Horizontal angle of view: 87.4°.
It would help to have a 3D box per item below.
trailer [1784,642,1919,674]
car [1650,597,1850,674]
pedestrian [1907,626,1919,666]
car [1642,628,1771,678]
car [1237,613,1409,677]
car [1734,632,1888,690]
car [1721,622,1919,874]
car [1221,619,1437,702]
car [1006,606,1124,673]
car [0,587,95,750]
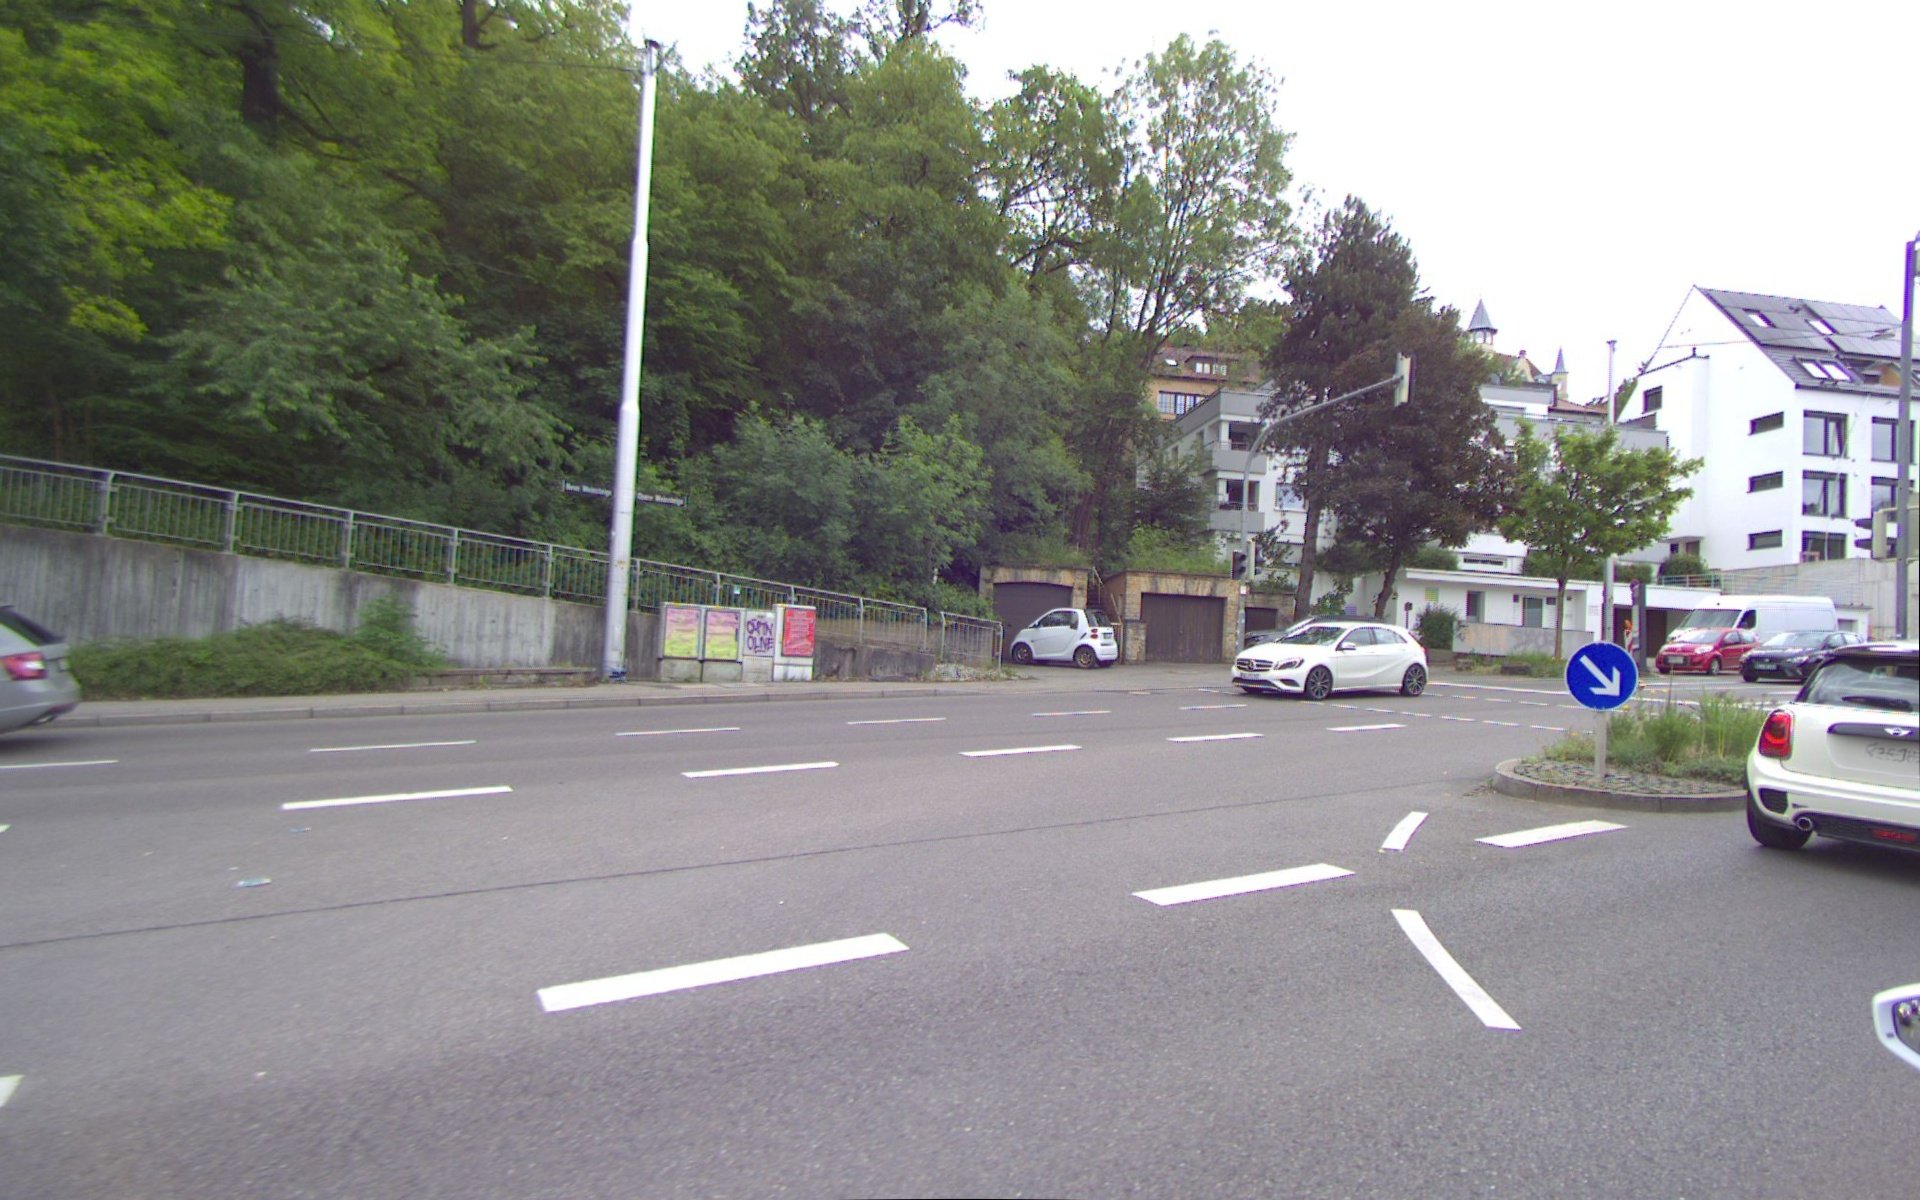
[{"bbox_3d":[34.148,2.211,38.326,4.552,1.126,2.244,1,-2,-20],"label":"trailer"},{"bbox_3d":[28.578,1.310,36.322,7.309,2.602,2.228,1,-1,-20],"label":"car"},{"bbox_3d":[39.745,1.908,41.494,0.660,1.662,0.626,1,1,-14],"label":"pedestrian"},{"bbox_3d":[23.521,1.654,31.638,3.872,1.485,1.617,1,-2,-24],"label":"car"},{"bbox_3d":[9.465,1.157,26.433,4.049,1.560,1.600,0,-1,11],"label":"car"},{"bbox_3d":[23.226,1.656,27.430,3.801,1.412,1.622,2,1,-22],"label":"car"},{"bbox_3d":[6.874,0.878,6.629,3.521,1.411,1.622,1,-2,-28],"label":"car"},{"bbox_3d":[7.219,1.154,19.563,4.093,1.412,1.644,2,1,-29],"label":"car"},{"bbox_3d":[2.804,1.027,26.827,2.663,1.540,1.561,3,0,31],"label":"car"},{"bbox_3d":[-10.557,0.570,8.657,4.523,1.468,1.640,2,-1,-36],"label":"car"}]
